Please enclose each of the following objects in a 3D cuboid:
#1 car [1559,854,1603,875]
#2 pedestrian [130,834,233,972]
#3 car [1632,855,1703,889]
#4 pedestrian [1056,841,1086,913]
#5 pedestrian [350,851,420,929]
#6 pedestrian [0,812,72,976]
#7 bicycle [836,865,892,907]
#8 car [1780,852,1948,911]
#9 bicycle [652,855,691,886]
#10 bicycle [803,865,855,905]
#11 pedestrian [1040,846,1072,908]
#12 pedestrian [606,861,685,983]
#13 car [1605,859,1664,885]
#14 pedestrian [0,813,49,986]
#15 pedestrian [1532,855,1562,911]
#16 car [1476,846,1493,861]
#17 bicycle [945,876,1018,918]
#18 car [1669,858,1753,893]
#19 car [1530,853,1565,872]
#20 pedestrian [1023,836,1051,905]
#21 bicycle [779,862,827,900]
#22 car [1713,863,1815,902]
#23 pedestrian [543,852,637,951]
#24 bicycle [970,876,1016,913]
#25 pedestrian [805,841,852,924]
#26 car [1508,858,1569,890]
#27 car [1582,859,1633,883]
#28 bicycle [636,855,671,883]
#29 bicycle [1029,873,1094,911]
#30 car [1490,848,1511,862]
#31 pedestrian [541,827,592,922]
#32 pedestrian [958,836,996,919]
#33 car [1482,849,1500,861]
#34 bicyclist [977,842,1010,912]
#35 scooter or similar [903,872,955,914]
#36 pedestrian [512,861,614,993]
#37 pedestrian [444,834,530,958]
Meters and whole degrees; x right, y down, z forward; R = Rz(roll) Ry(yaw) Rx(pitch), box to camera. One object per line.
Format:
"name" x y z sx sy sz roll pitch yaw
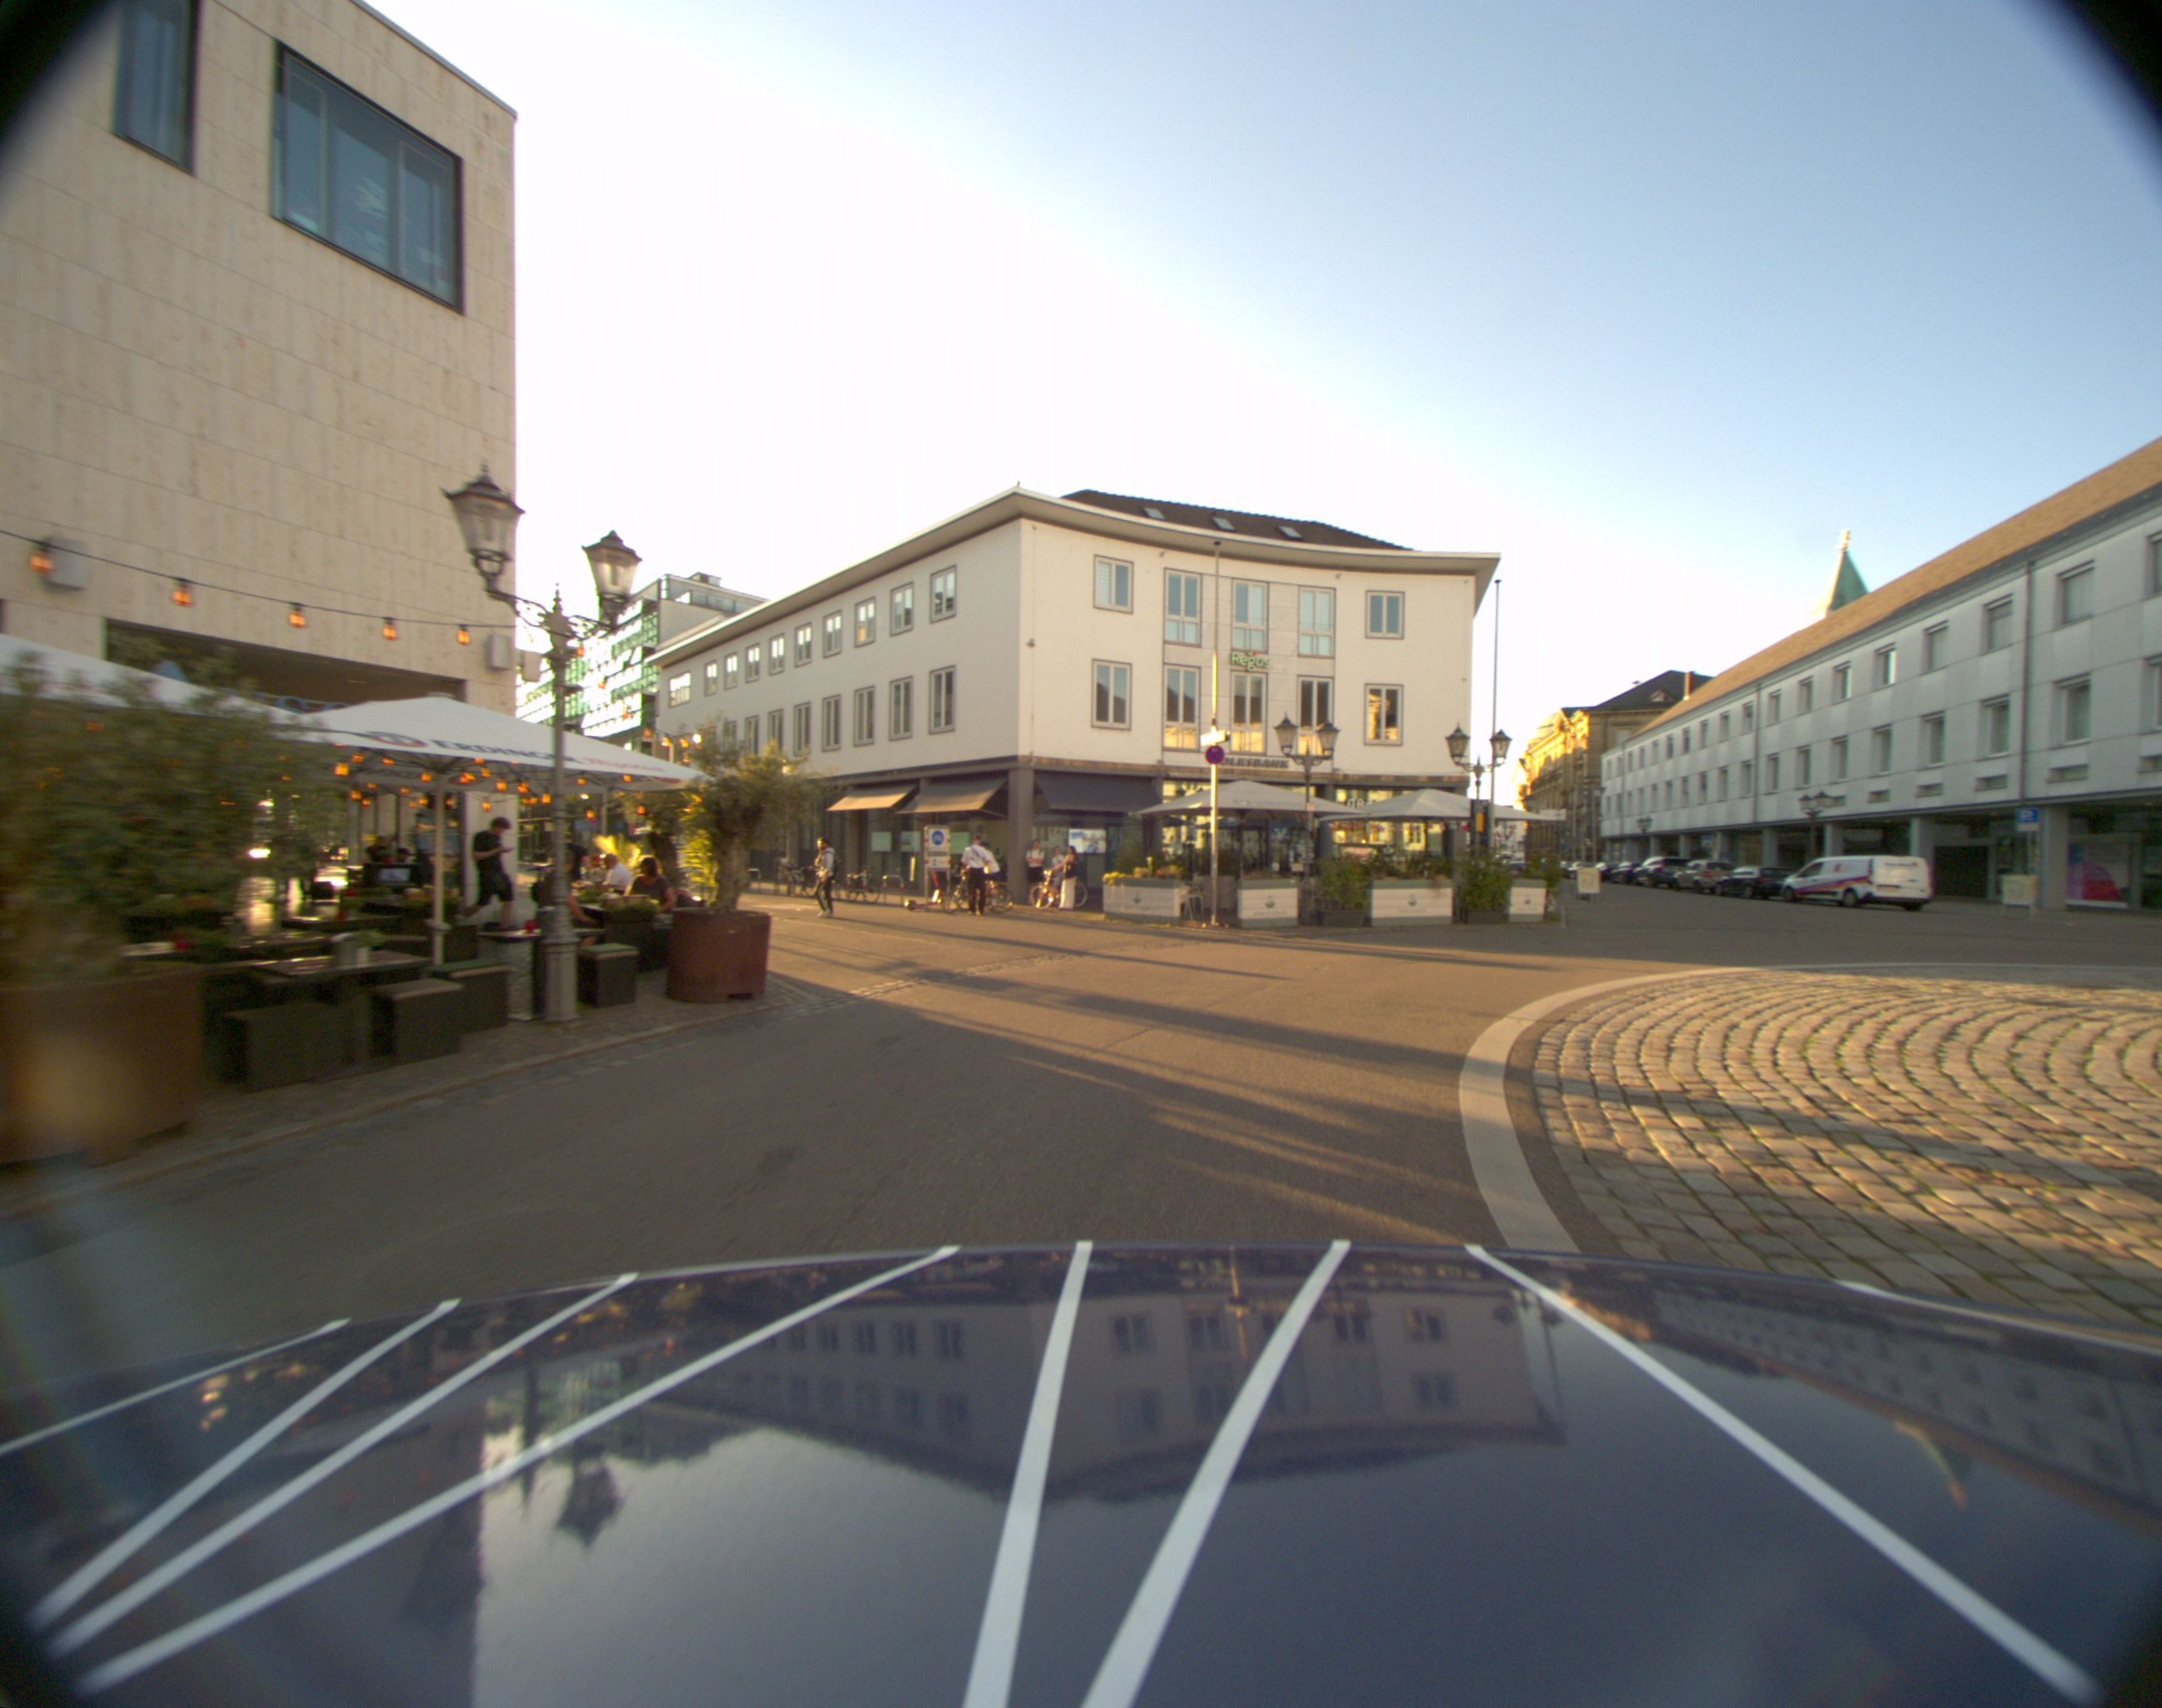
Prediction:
"car" 37.872 0.771 57.664 1.778 1.483 4.334 1 1 19
"pedestrian" -11.849 0.611 10.022 0.708 1.737 0.718 1 1 27
"car" 32.284 0.925 41.981 1.778 1.718 4.334 1 1 19
"pedestrian" -0.263 0.578 19.578 0.508 1.808 0.720 1 1 23
"pedestrian" -12.379 0.617 13.516 0.708 1.341 0.785 1 1 35
"pedestrian" -12.105 0.431 8.499 0.728 1.792 0.852 1 1 27
"bicycle" -6.313 0.905 22.061 1.958 1.135 0.523 1 1 39
"car" 27.061 0.876 26.508 2.018 1.815 4.465 1 1 14
"bicycle" -17.239 0.674 31.938 2.226 1.210 0.800 1 1 44
"bicycle" -7.738 0.934 23.280 1.958 1.135 0.523 1 1 39
"pedestrian" -0.674 0.607 20.775 0.618 1.667 0.735 1 1 22
"pedestrian" -5.457 0.812 9.519 0.721 1.439 0.695 2 1 45
"car" 34.483 1.081 47.447 1.778 1.483 4.334 1 1 19
"pedestrian" -11.602 0.465 7.858 0.726 1.792 0.984 1 1 28
"pedestrian" 14.511 0.893 23.671 0.603 1.691 0.714 1 1 15
"car" 61.486 -0.155 115.716 1.778 2.214 4.335 1 1 21
"bicycle" -2.340 0.998 17.954 1.680 0.928 0.473 0 1 -32
"car" 29.968 0.996 36.282 1.778 1.506 3.966 1 1 19
"car" 42.894 0.768 69.933 1.778 1.657 4.334 1 1 19
"pedestrian" -1.232 0.445 21.303 0.579 1.912 0.544 1 1 22
"bicycle" -8.980 0.849 24.507 1.958 1.135 0.523 1 1 39
"car" 28.443 1.124 31.812 1.778 1.416 3.966 1 1 19
"pedestrian" -7.641 0.700 11.842 0.968 1.439 0.947 1 1 36
"bicycle" -2.230 1.010 19.417 0.481 0.843 1.486 1 1 23
"pedestrian" -5.445 0.587 16.441 0.935 1.731 0.919 0 1 -17
"car" 22.058 0.915 36.771 1.778 1.416 3.967 1 1 20
"car" 36.112 1.120 52.232 1.778 1.483 4.334 1 1 19
"bicycle" -19.483 0.677 34.608 2.226 1.210 0.800 1 1 44
"bicycle" -0.500 0.978 19.761 1.680 0.928 0.473 0 1 -32
"car" 54.346 0.119 98.494 1.778 1.657 4.335 1 1 21
"pedestrian" -9.754 0.369 14.407 0.718 1.737 0.708 0 1 -42
"pedestrian" -2.447 0.530 17.875 0.643 1.917 0.629 2 2 45
"car" 59.357 0.092 110.002 1.778 1.657 4.335 1 1 21
"bicyclist" -2.231 0.572 19.399 0.481 1.733 0.836 1 1 23
"scooter or similar" -3.918 0.992 19.596 1.207 1.005 0.486 0 1 -38
"pedestrian" -6.074 0.810 8.913 0.721 1.439 0.867 2 1 45
"pedestrian" -8.693 0.587 11.130 0.708 1.737 0.717 1 1 19
